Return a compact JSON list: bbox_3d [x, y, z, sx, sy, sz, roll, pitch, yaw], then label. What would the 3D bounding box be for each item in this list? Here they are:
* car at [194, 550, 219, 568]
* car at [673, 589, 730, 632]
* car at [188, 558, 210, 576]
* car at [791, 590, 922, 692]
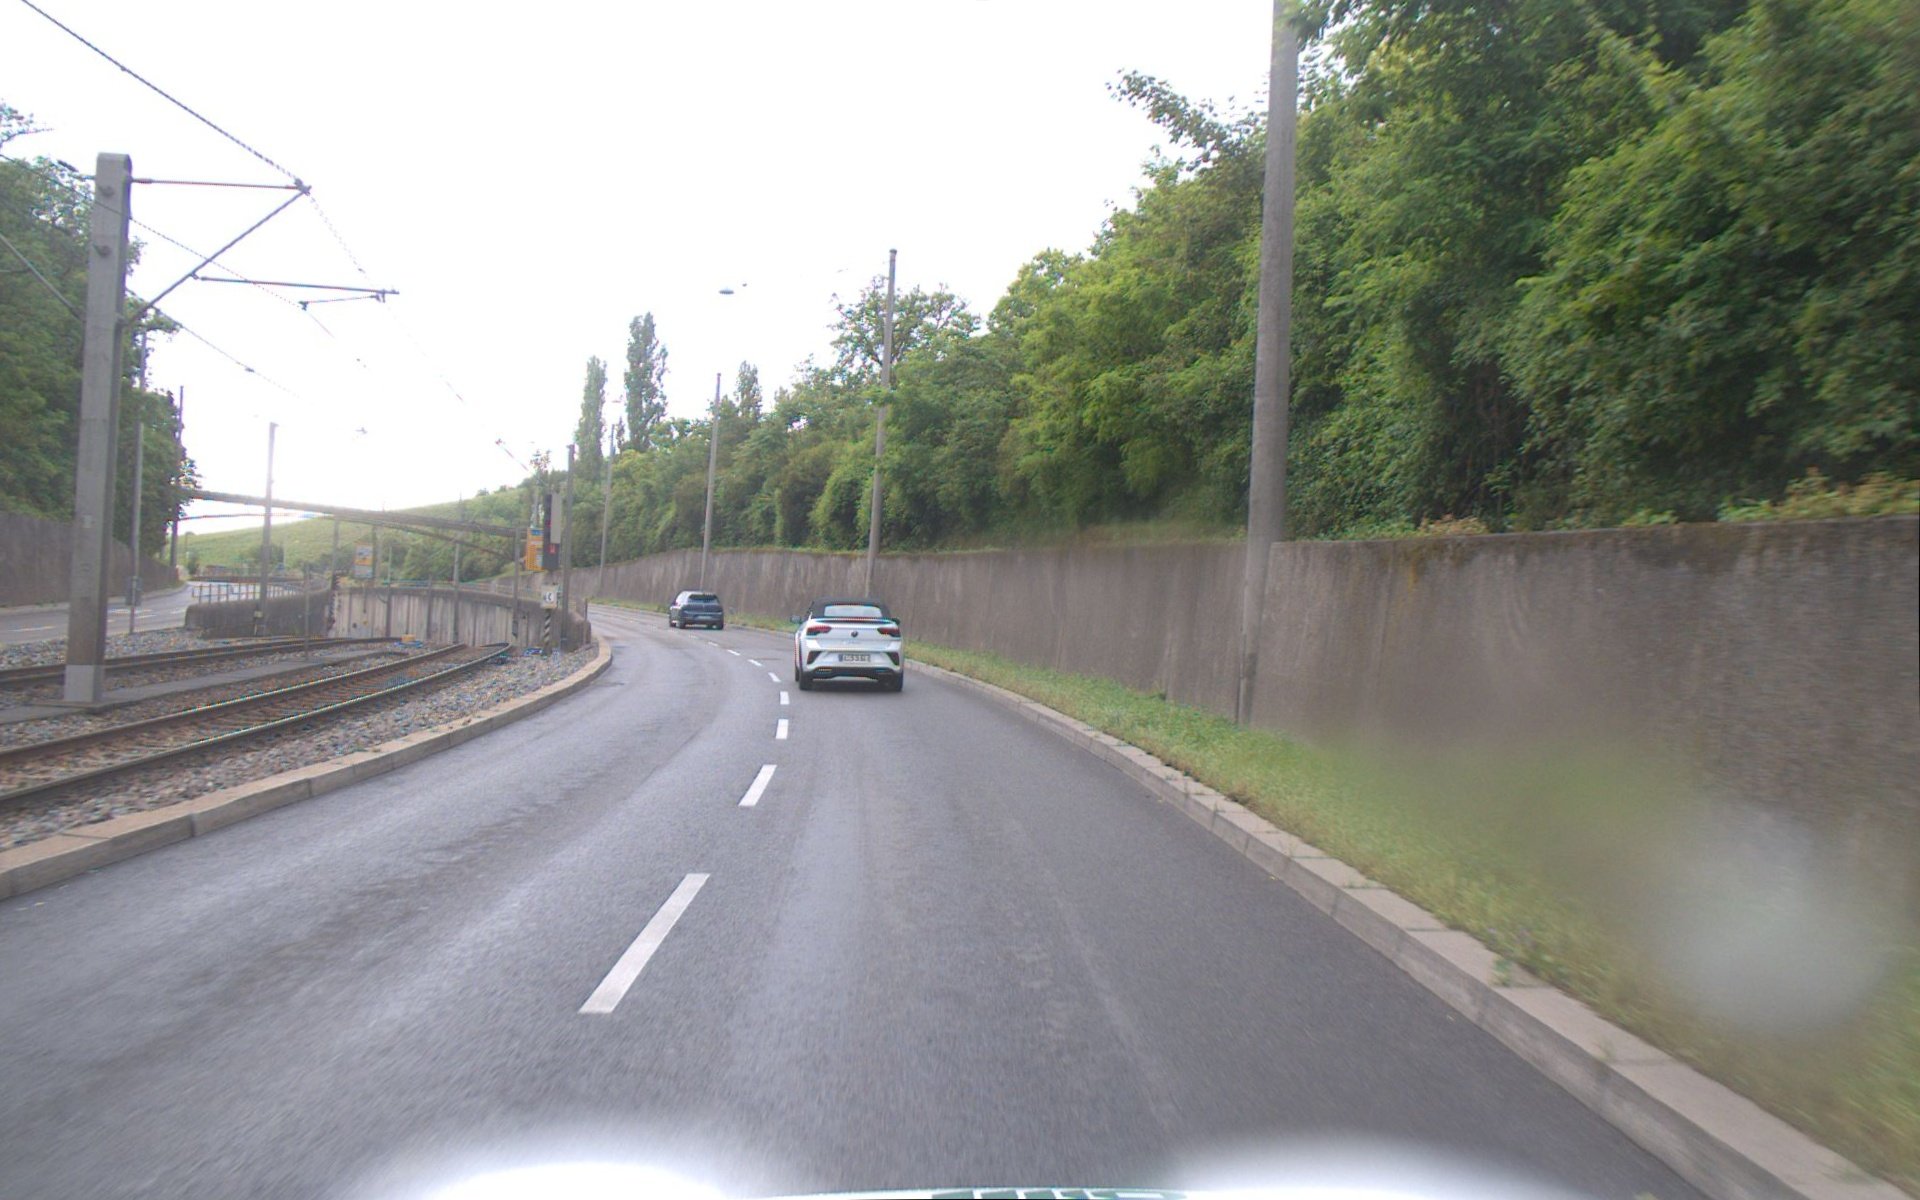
[{"bbox_3d":[-77.526,-4.222,170.191,1.940,1.780,4.101,1,0,-29],"label":"car"},{"bbox_3d":[-10.272,0.390,65.577,1.893,1.627,4.048,1,0,-13],"label":"car"},{"bbox_3d":[-76.530,-3.278,166.416,1.796,1.734,4.074,1,0,-28],"label":"car"},{"bbox_3d":[-1.886,0.661,28.915,1.958,1.606,4.118,1,0,-8],"label":"car"}]
